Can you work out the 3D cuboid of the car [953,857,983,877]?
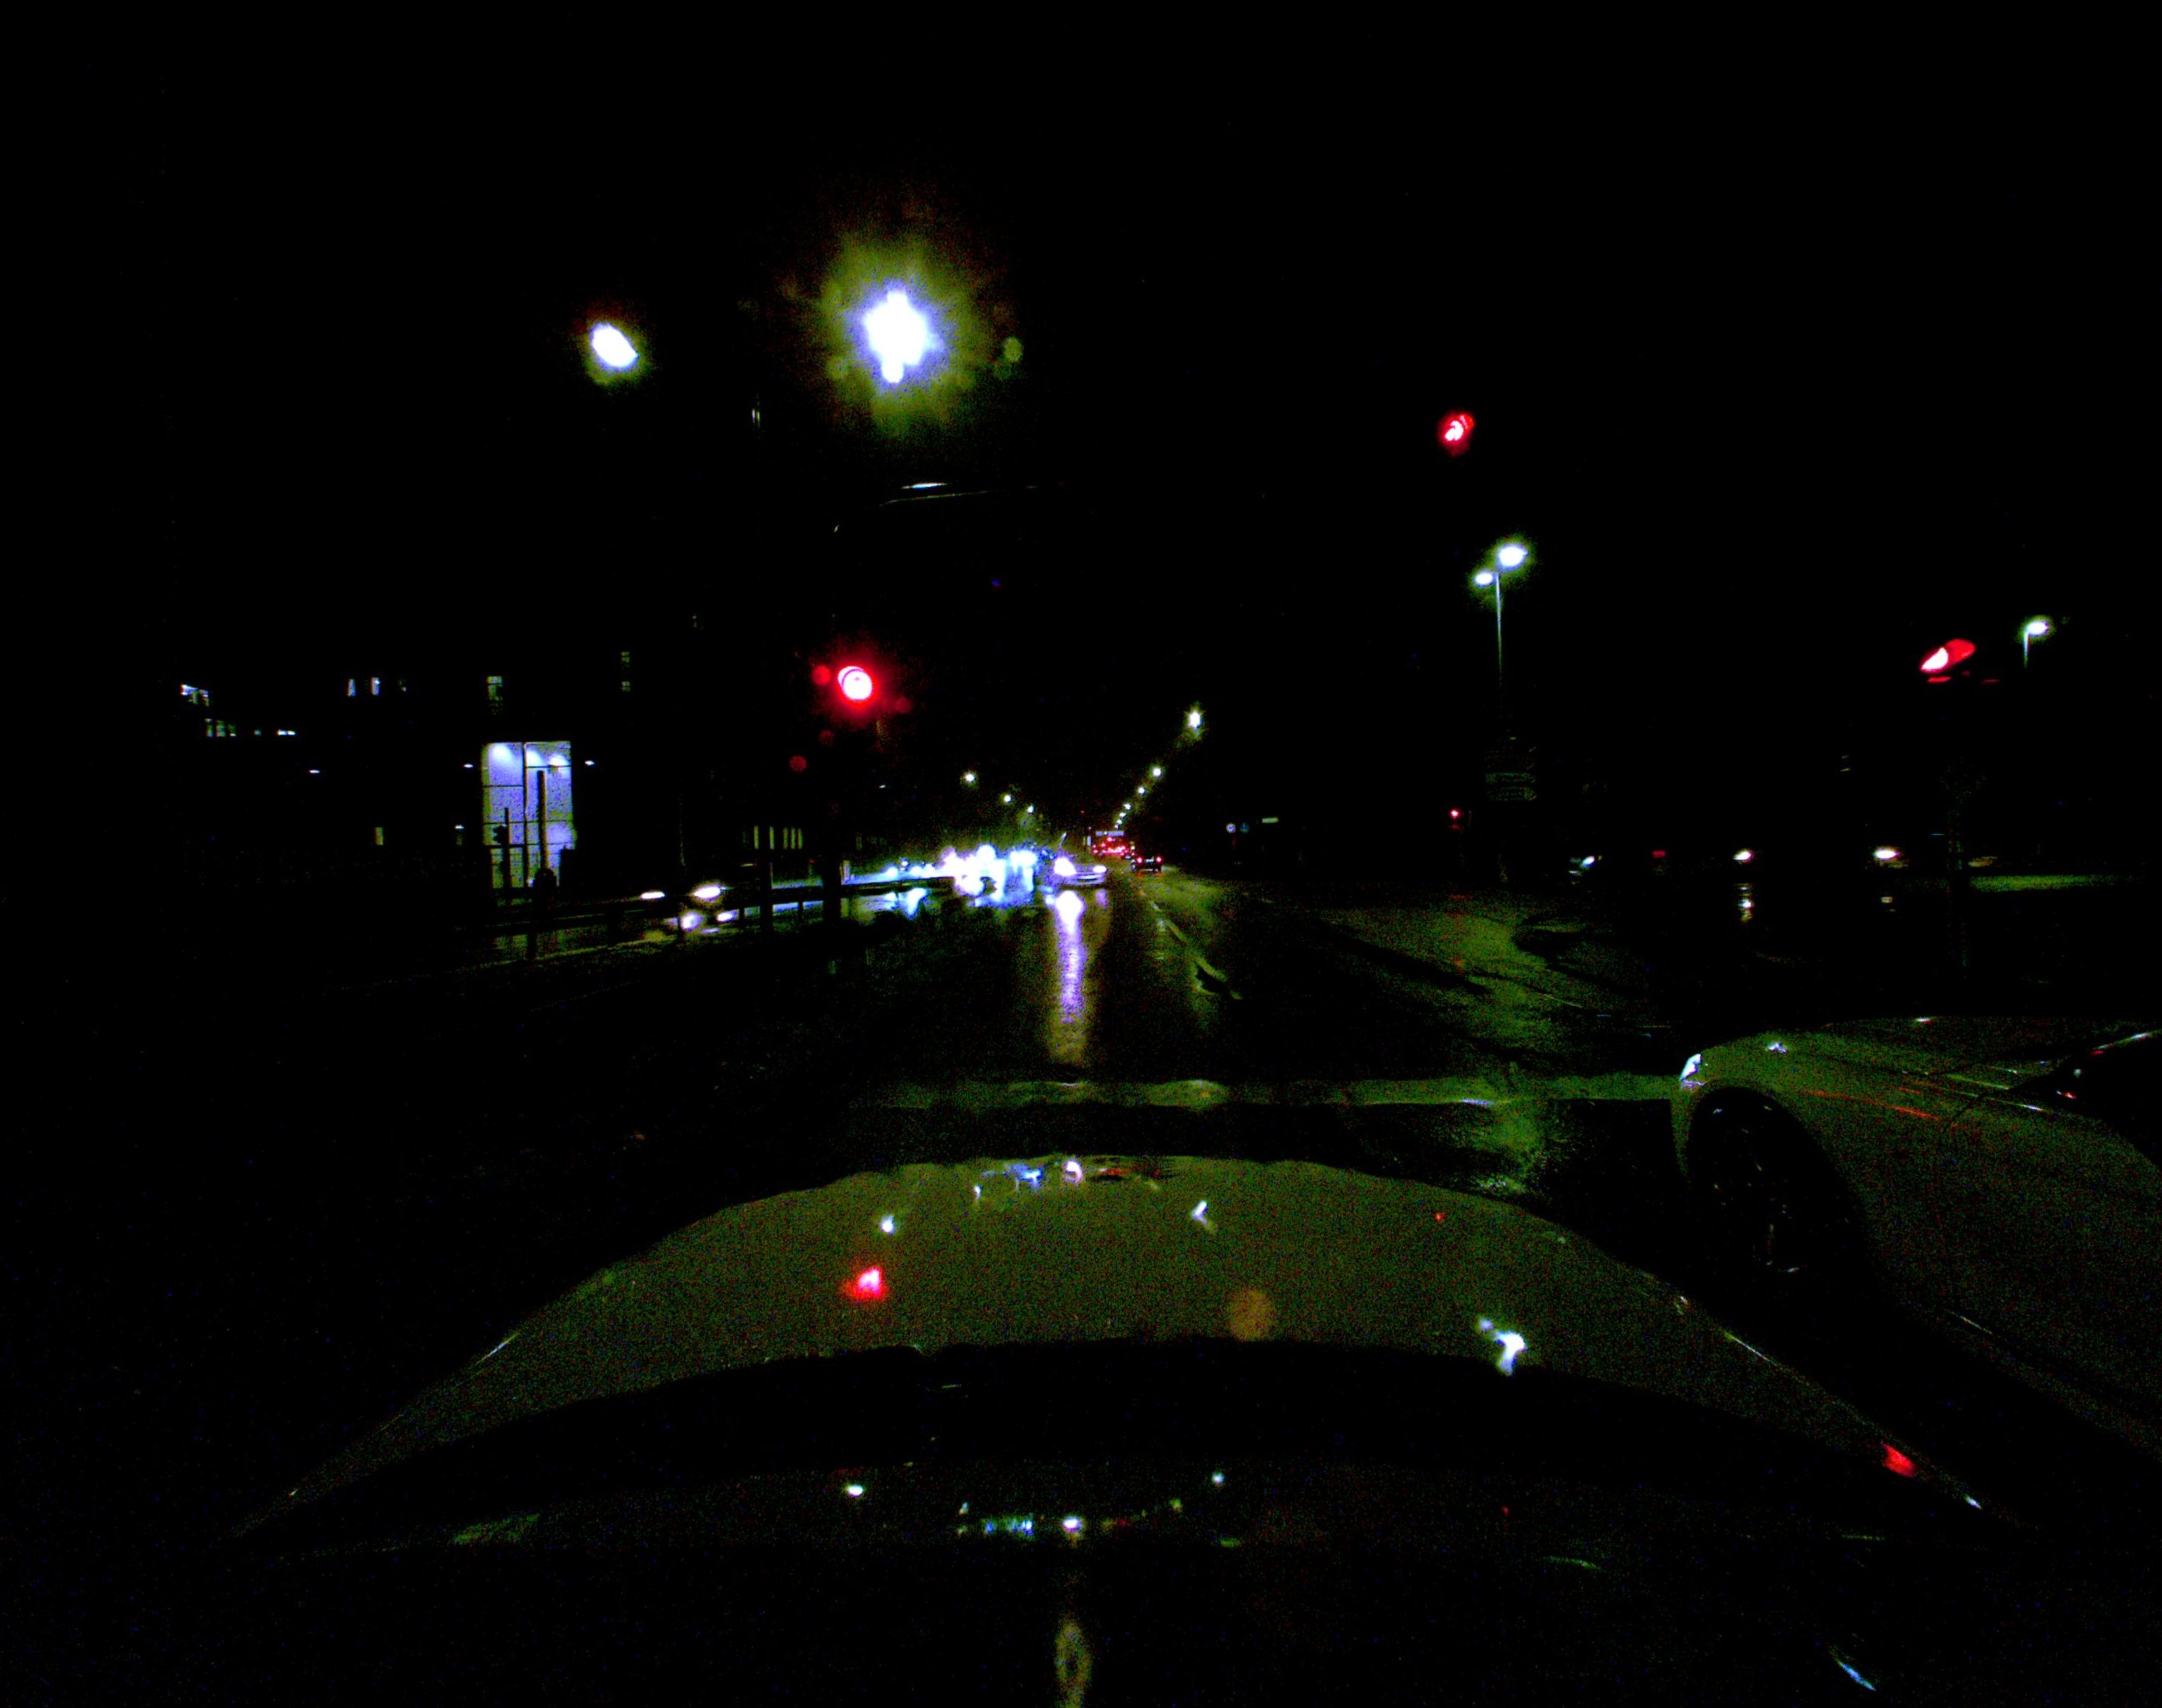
[{"bbox_3d":[-9.600,1.090,69.293,1.764,1.569,4.333,-2,-1,2],"label":"car"}]

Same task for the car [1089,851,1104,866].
[{"bbox_3d":[2.185,0.670,114.428,1.986,2.014,4.001,-1,-1,2],"label":"car"}]

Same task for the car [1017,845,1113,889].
[{"bbox_3d":[-0.754,0.509,32.771,2.003,1.610,4.928,-1,-1,-25],"label":"car"}]

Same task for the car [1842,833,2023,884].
[{"bbox_3d":[31.329,0.182,30.111,4.313,1.755,1.989,-1,-1,8],"label":"car"}]

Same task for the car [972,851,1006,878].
[{"bbox_3d":[-6.555,0.728,58.607,1.776,1.816,4.002,-2,-1,2],"label":"car"}]

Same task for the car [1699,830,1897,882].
[{"bbox_3d":[24.262,0.085,27.748,4.823,1.590,1.857,-1,-1,8],"label":"car"}]

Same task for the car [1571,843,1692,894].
[{"bbox_3d":[20.899,0.538,31.034,3.401,1.838,1.690,-1,-1,5],"label":"car"}]

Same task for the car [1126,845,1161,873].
[{"bbox_3d":[4.280,0.364,56.532,1.898,1.780,3.996,-1,-1,-3],"label":"car"}]

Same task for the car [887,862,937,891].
[{"bbox_3d":[-9.893,1.284,47.999,1.878,1.552,4.435,-1,-1,2],"label":"car"}]

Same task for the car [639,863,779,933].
[{"bbox_3d":[-10.448,1.168,23.278,1.743,1.709,4.500,-3,-1,2],"label":"car"}]

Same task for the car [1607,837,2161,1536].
[{"bbox_3d":[3.127,0.690,1.304,1.714,1.446,4.383,-3,-1,1],"label":"car"}]

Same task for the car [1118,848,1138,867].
[{"bbox_3d":[5.525,0.419,96.459,2.200,2.215,3.644,-1,-1,2],"label":"car"}]
